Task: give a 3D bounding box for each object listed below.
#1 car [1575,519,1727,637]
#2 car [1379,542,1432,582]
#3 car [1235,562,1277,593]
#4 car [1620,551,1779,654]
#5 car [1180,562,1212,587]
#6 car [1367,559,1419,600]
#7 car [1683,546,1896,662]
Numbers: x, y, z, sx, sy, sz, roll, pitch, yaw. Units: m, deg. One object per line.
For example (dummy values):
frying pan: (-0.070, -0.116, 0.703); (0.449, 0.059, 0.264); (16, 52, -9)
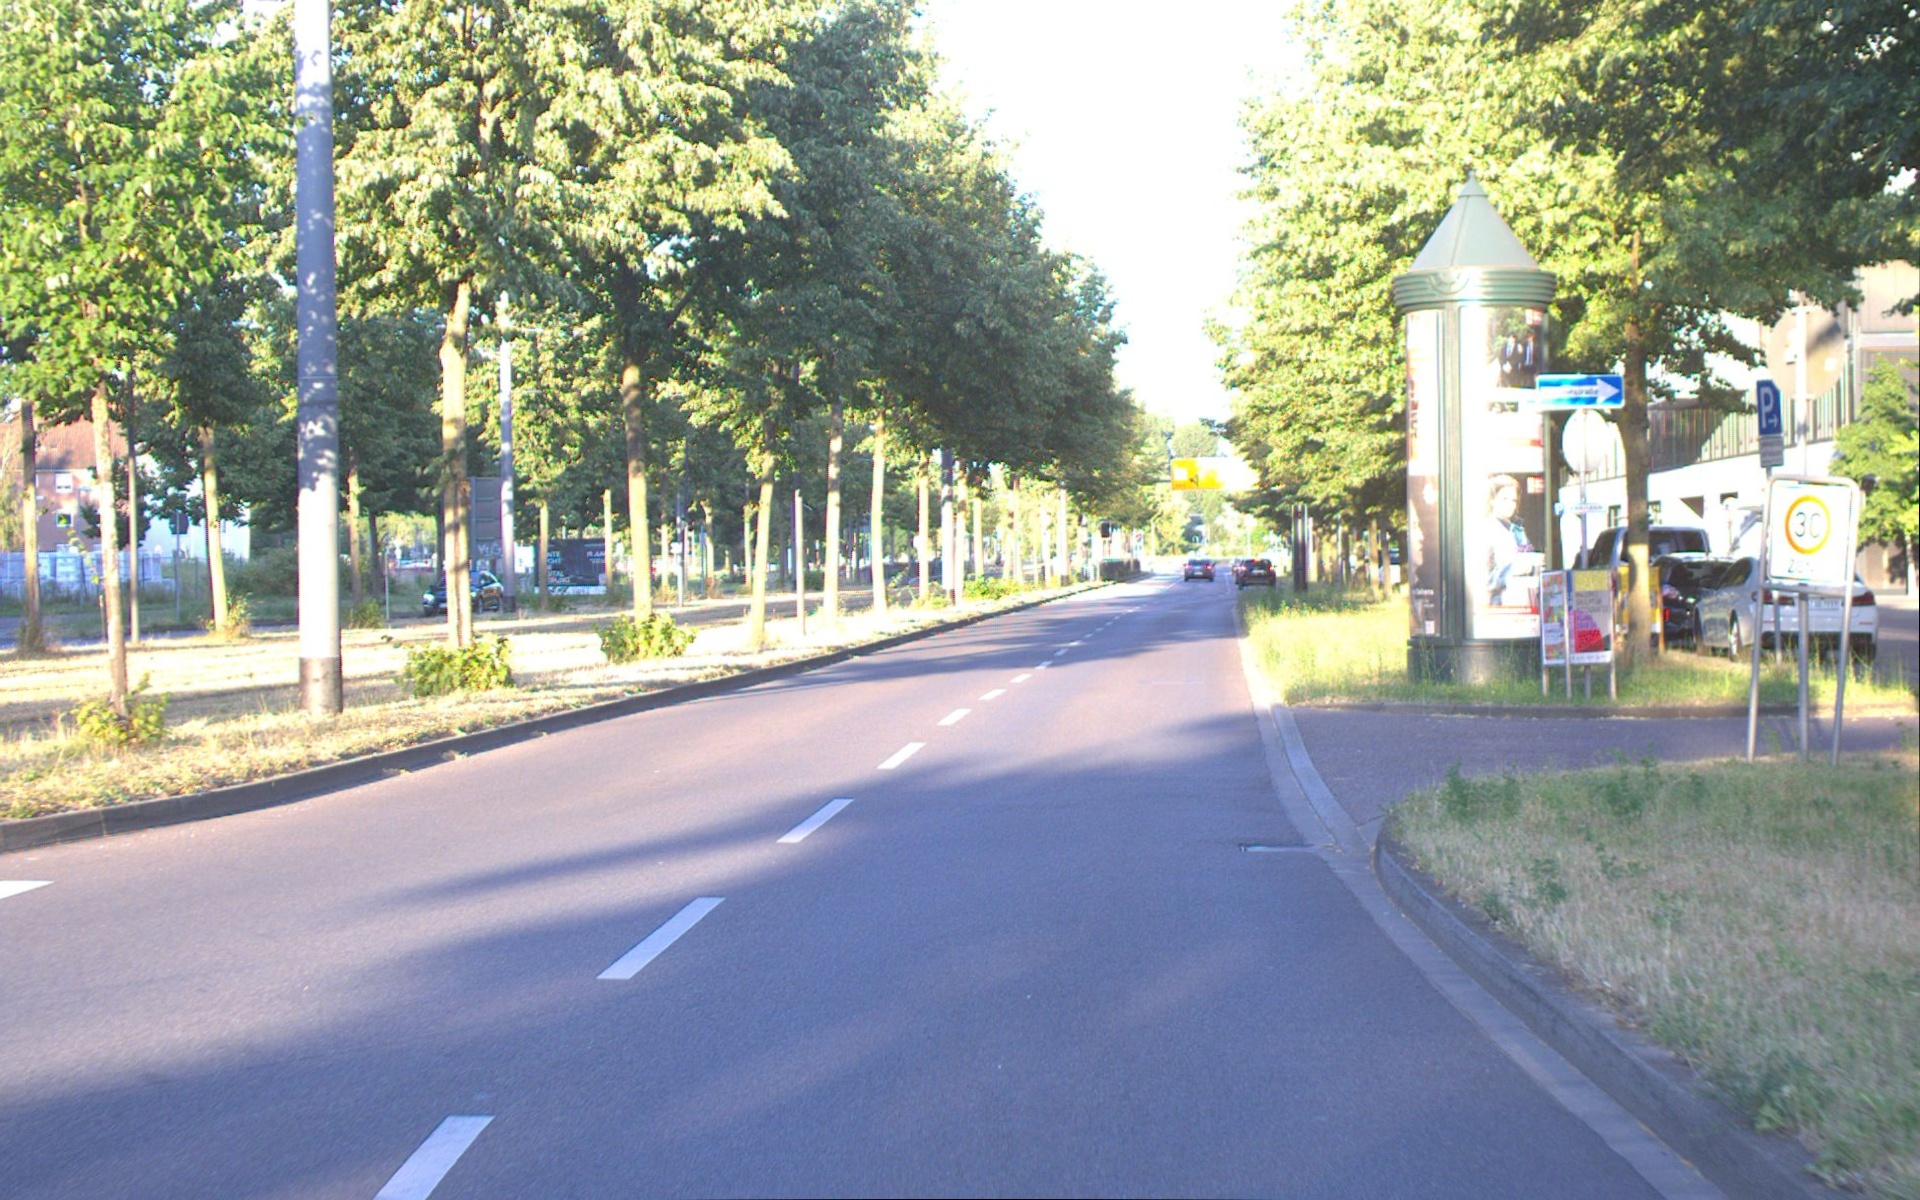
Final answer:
car: (12.136, -0.397, 60.650); (1.986, 1.982, 4.931); (0, 1, 4)
car: (18.783, -1.576, 145.146); (1.994, 1.637, 4.877); (-1, 0, 5)
car: (14.077, -1.065, 163.703); (1.912, 1.481, 3.999); (0, 0, 4)
car: (11.404, 0.012, 53.274); (1.859, 1.491, 4.289); (-1, 1, 5)
car: (14.408, -1.556, 210.015); (1.912, 1.481, 3.999); (0, 0, 4)
car: (19.841, -0.937, 157.752); (1.994, 1.845, 4.665); (-1, 0, 3)
car: (11.308, 0.029, 47.197); (1.917, 1.491, 5.041); (0, 1, 3)
